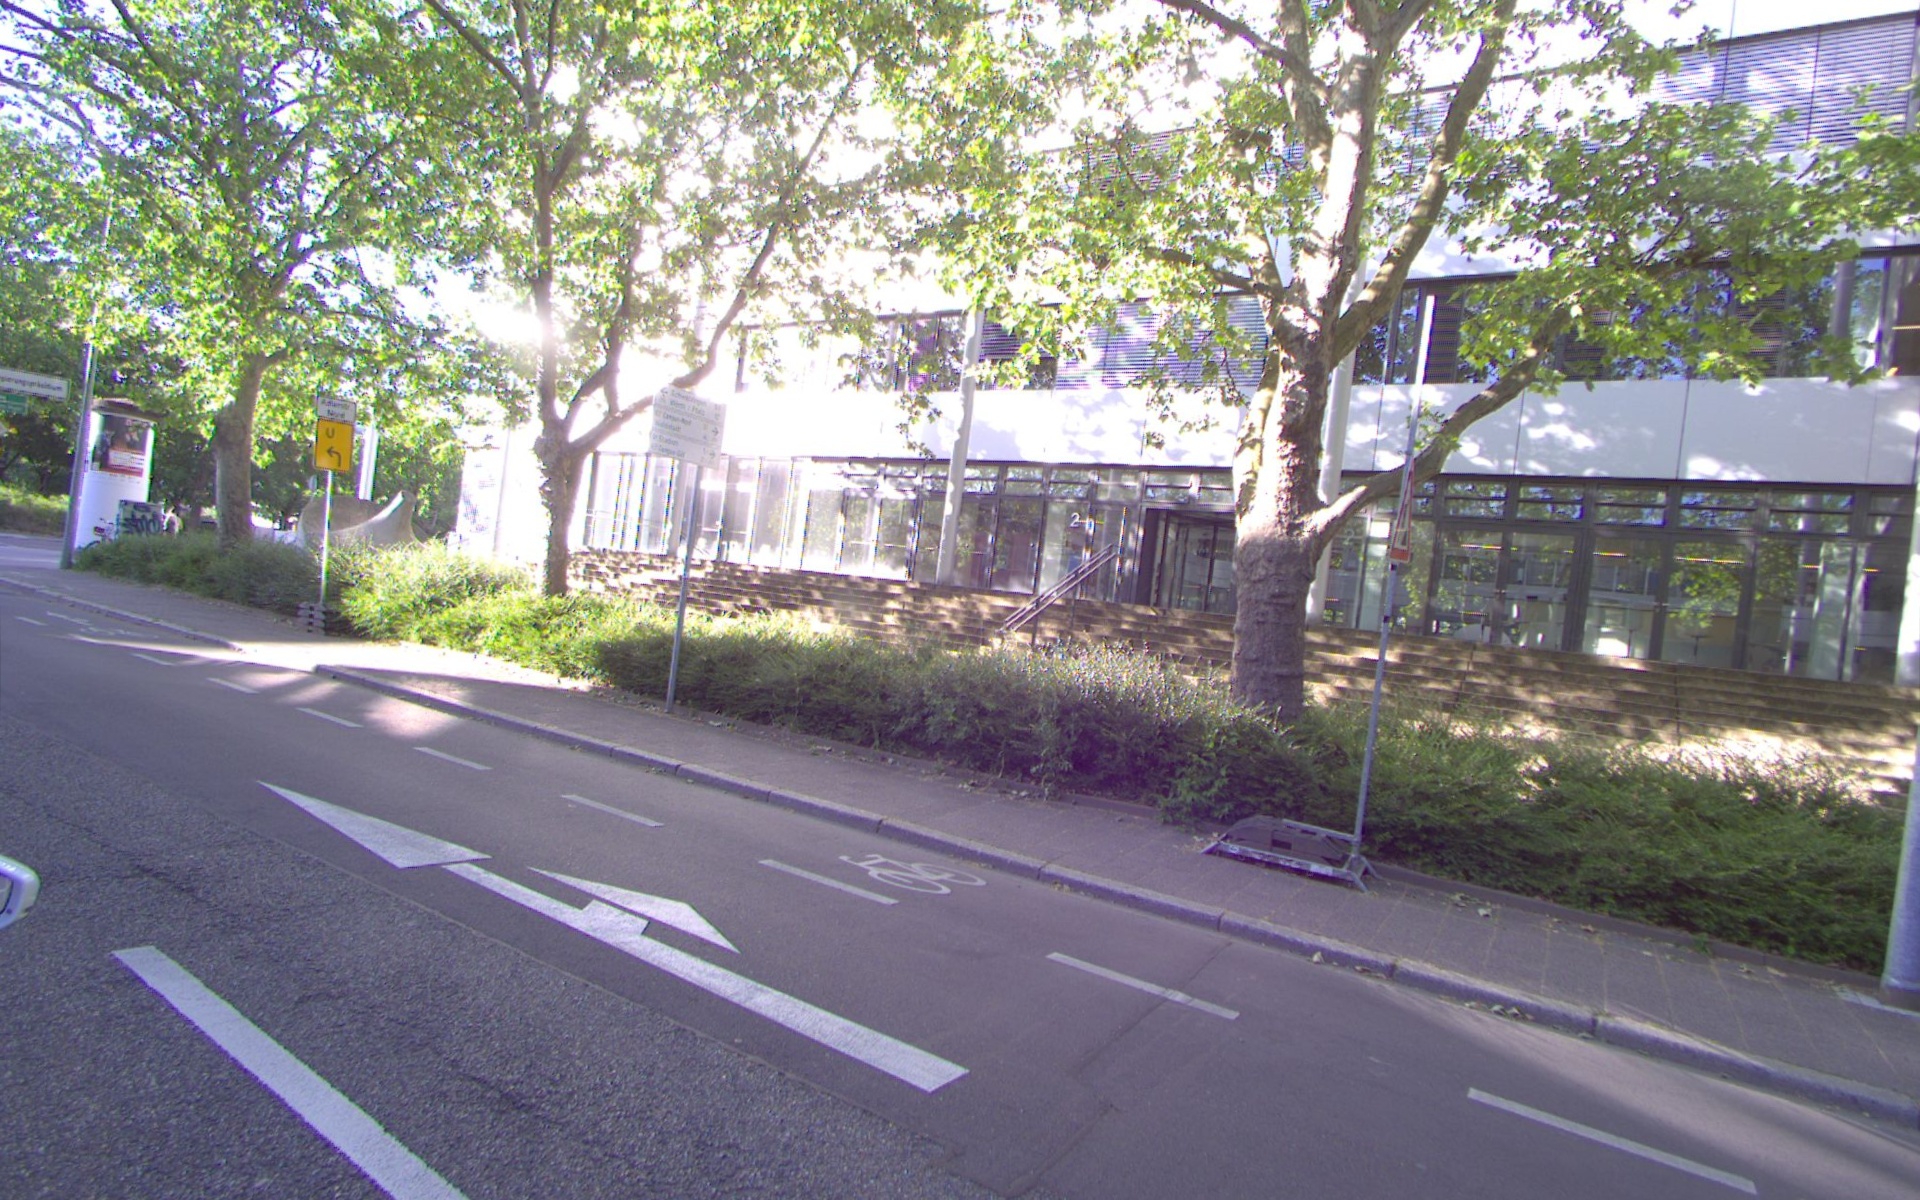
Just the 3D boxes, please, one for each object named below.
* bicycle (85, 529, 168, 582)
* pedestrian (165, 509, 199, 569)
[{"bbox_3d":[-19.237,-1.016,23.237,0.357,1.036,1.354,7,-1,33],"label":"bicycle"},{"bbox_3d":[-25.738,-2.017,33.274,0.584,1.871,0.552,7,0,33],"label":"pedestrian"}]
